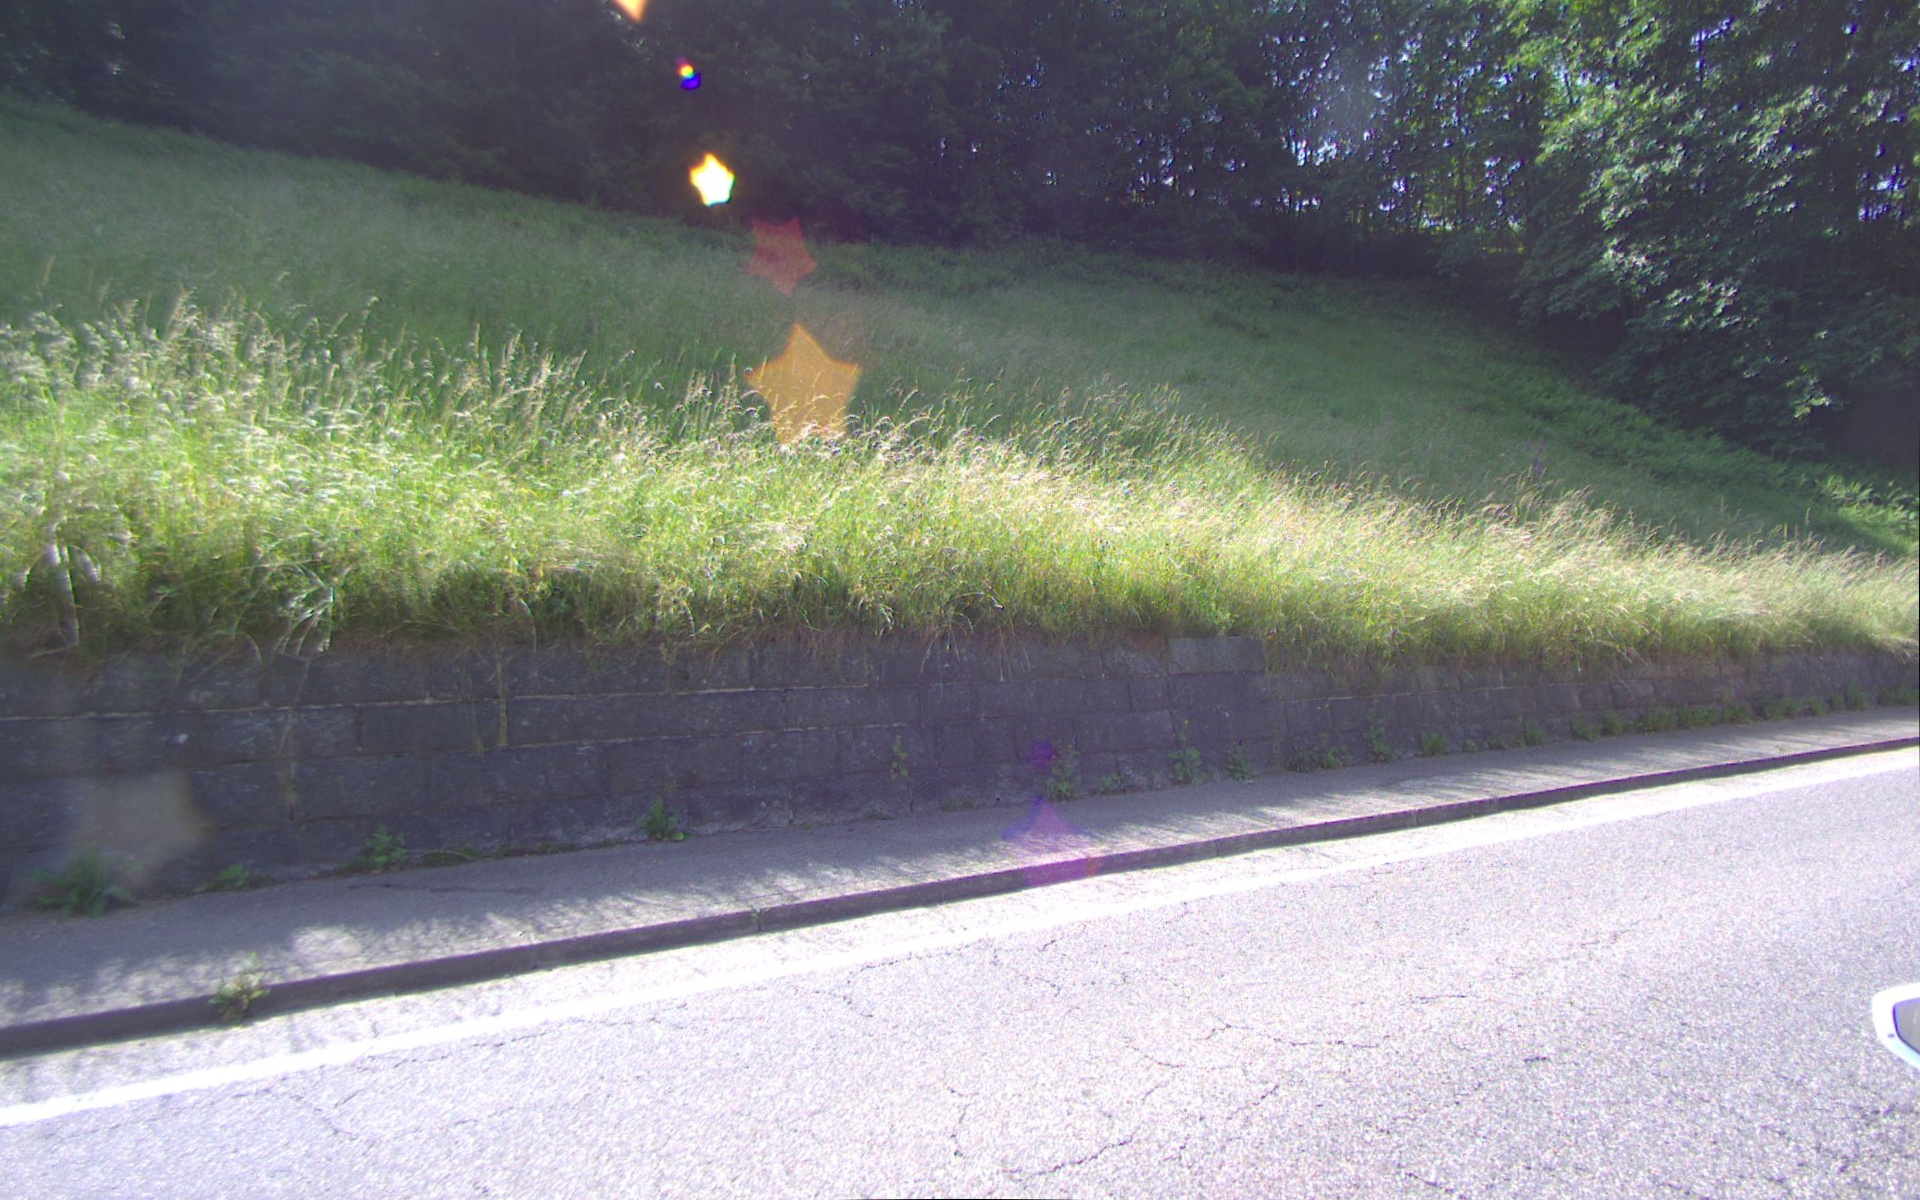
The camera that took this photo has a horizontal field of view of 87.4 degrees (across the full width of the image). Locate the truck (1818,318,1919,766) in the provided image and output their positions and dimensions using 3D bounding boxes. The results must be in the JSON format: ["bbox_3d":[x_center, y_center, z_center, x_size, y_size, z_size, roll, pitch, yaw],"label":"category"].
[{"bbox_3d":[12.799,-0.578,10.653,6.481,4.456,3.179,-1,2,-25],"label":"truck"}]
